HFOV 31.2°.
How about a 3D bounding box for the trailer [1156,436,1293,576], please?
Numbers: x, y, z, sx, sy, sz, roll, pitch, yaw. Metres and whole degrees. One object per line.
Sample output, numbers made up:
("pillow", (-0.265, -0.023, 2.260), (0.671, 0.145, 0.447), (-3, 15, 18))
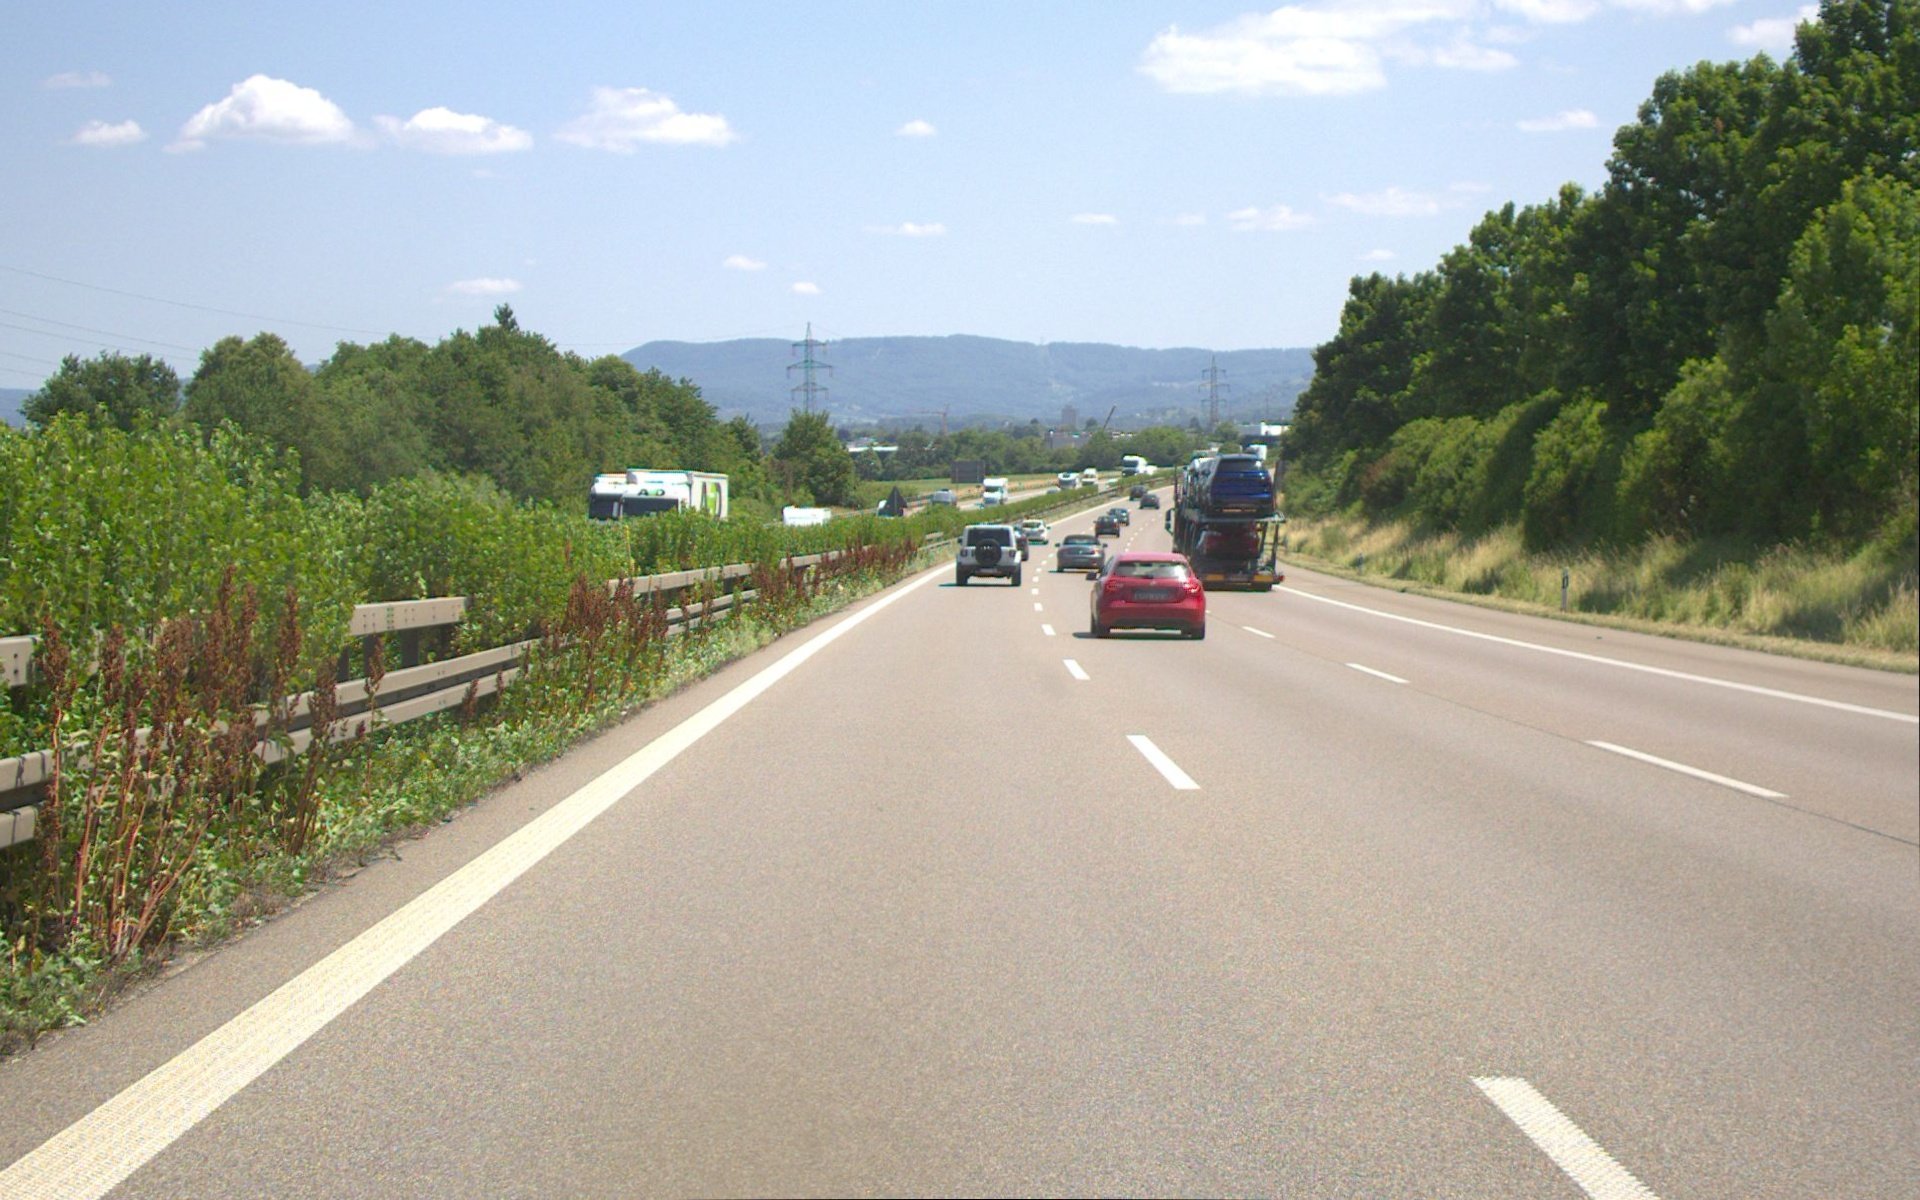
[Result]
("trailer", (8.065, -2.956, 106.830), (2.855, 3.979, 15.398), (1, 2, -1))

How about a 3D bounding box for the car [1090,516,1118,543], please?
("car", (9.535, -4.678, 227.466), (1.636, 1.699, 3.400), (1, 2, 6))

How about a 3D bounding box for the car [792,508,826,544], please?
("car", (-8.574, -4.230, 195.674), (1.794, 2.006, 4.001), (1, 2, -1))

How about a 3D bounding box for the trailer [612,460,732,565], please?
("trailer", (-11.721, -3.624, 141.385), (3.193, 4.062, 14.043), (1, 2, 2))

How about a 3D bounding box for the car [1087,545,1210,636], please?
("car", (3.100, -0.185, 57.259), (1.686, 1.374, 3.949), (1, 2, -2))

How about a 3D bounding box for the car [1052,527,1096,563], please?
("car", (4.251, -2.076, 128.329), (1.452, 1.263, 3.539), (1, 2, -1))

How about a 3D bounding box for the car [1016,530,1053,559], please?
("car", (3.356, -2.496, 154.091), (1.455, 1.263, 3.337), (1, 2, 4))

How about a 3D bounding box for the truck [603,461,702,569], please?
("truck", (-12.041, -3.346, 134.829), (3.176, 4.095, 5.226), (1, 2, 2))

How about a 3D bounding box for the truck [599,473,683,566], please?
("truck", (-14.460, -3.665, 156.189), (3.011, 4.095, 5.621), (1, 2, 2))

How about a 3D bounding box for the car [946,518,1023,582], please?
("car", (0.706, -1.543, 104.335), (2.083, 1.823, 4.754), (1, 2, -2))

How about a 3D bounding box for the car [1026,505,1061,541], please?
("car", (4.906, -4.524, 201.385), (1.698, 2.006, 3.821), (1, 2, 6))

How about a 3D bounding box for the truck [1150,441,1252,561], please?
("truck", (7.980, -3.317, 114.582), (2.754, 3.839, 6.645), (1, 2, -1))
